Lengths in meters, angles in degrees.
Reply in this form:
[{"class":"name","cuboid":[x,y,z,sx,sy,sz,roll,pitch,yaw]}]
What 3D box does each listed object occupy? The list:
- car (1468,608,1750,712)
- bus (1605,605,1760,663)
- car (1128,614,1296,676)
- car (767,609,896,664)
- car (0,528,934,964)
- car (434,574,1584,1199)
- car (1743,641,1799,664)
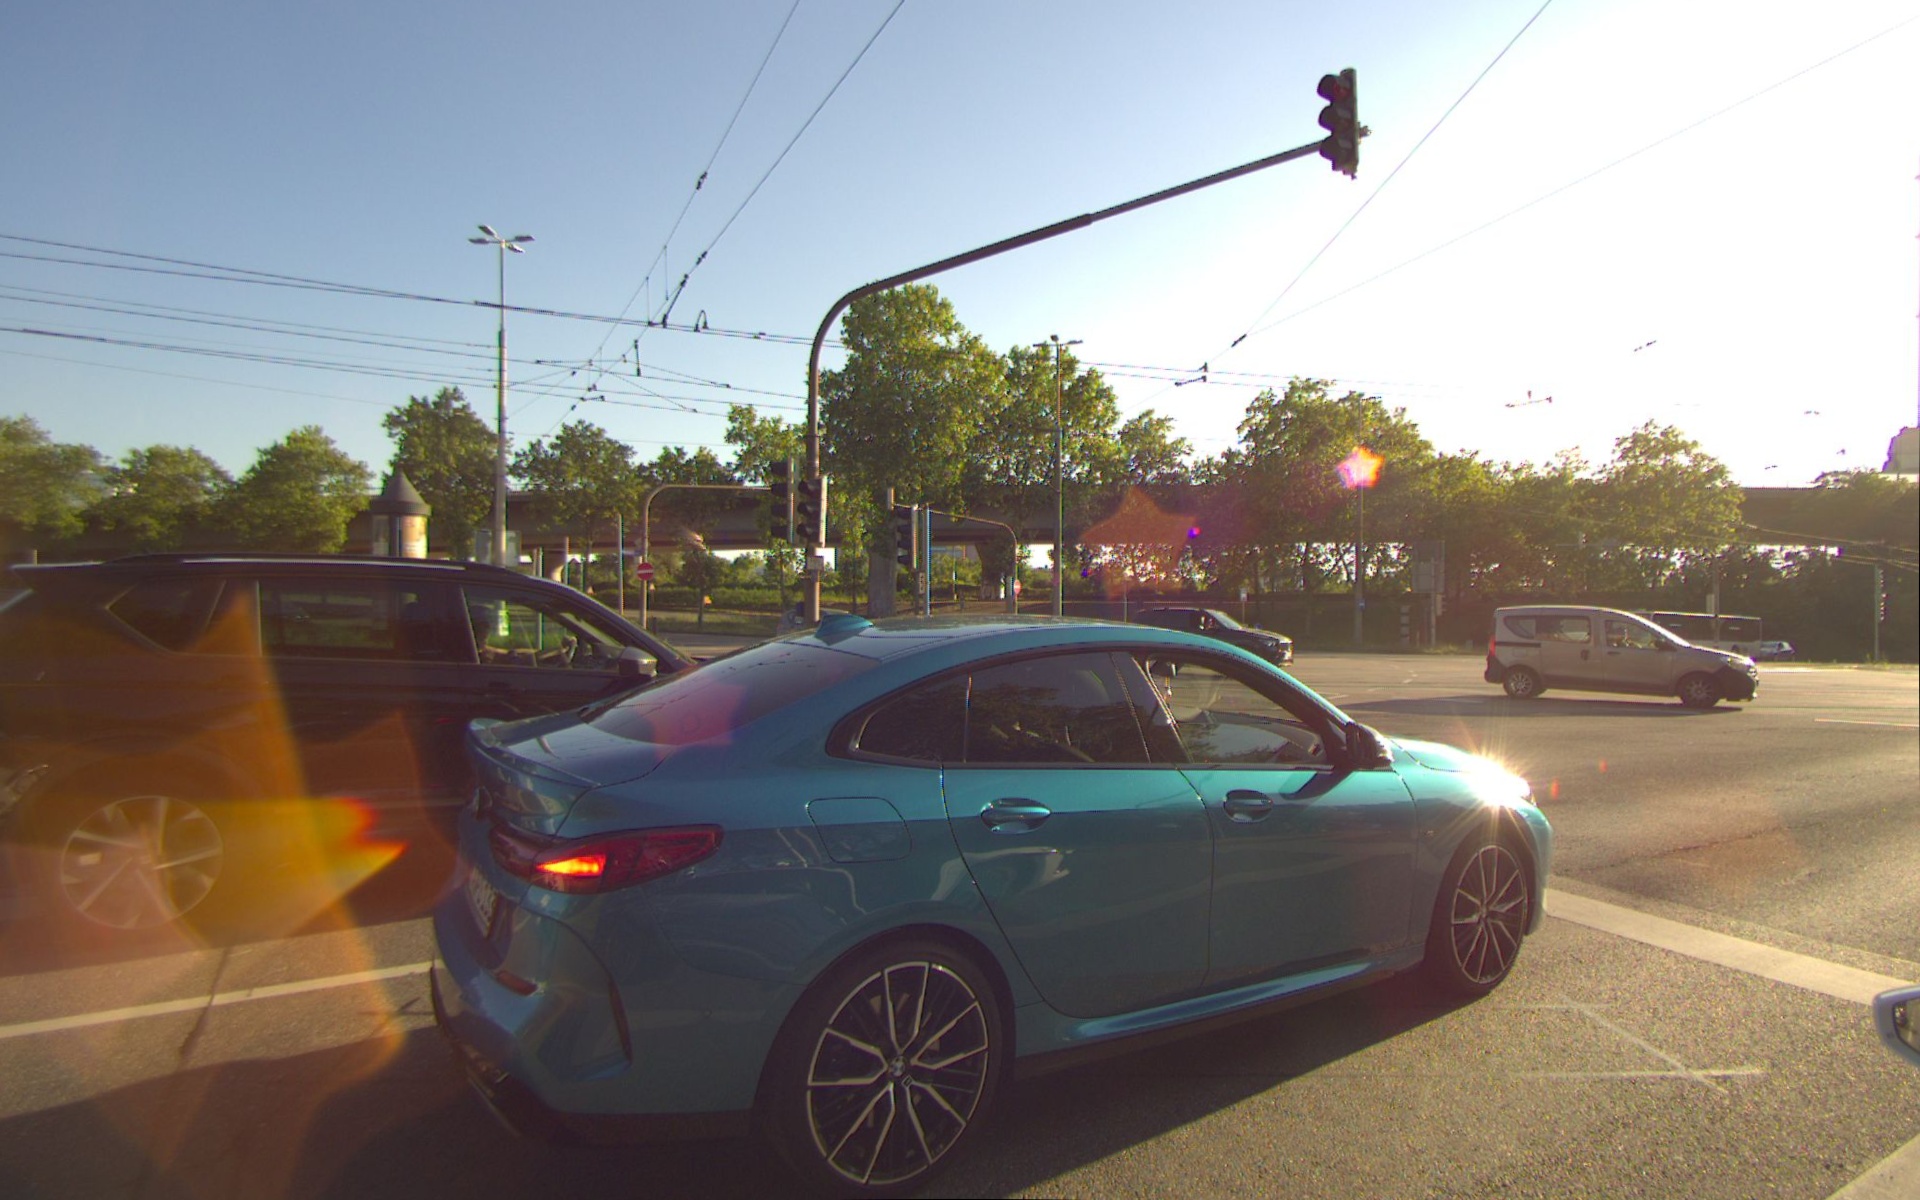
[{"class":"car","cuboid":[12.273,1.054,19.179,4.344,1.701,1.687,1,0,37]},{"class":"bus","cuboid":[45.481,2.212,63.049,12.756,3.171,2.534,3,-2,-28]},{"class":"car","cuboid":[7.097,1.228,28.501,4.341,1.546,1.618,1,0,36]},{"class":"car","cuboid":[-4.054,1.112,31.558,3.869,1.546,1.718,1,0,35]},{"class":"car","cuboid":[-2.580,0.614,5.600,4.566,1.702,1.806,1,-1,-28]},{"class":"car","cuboid":[0.438,0.743,3.798,4.162,1.485,1.704,1,-1,-33]},{"class":"car","cuboid":[55.042,3.536,68.159,3.959,1.438,1.600,1,0,-29]}]
